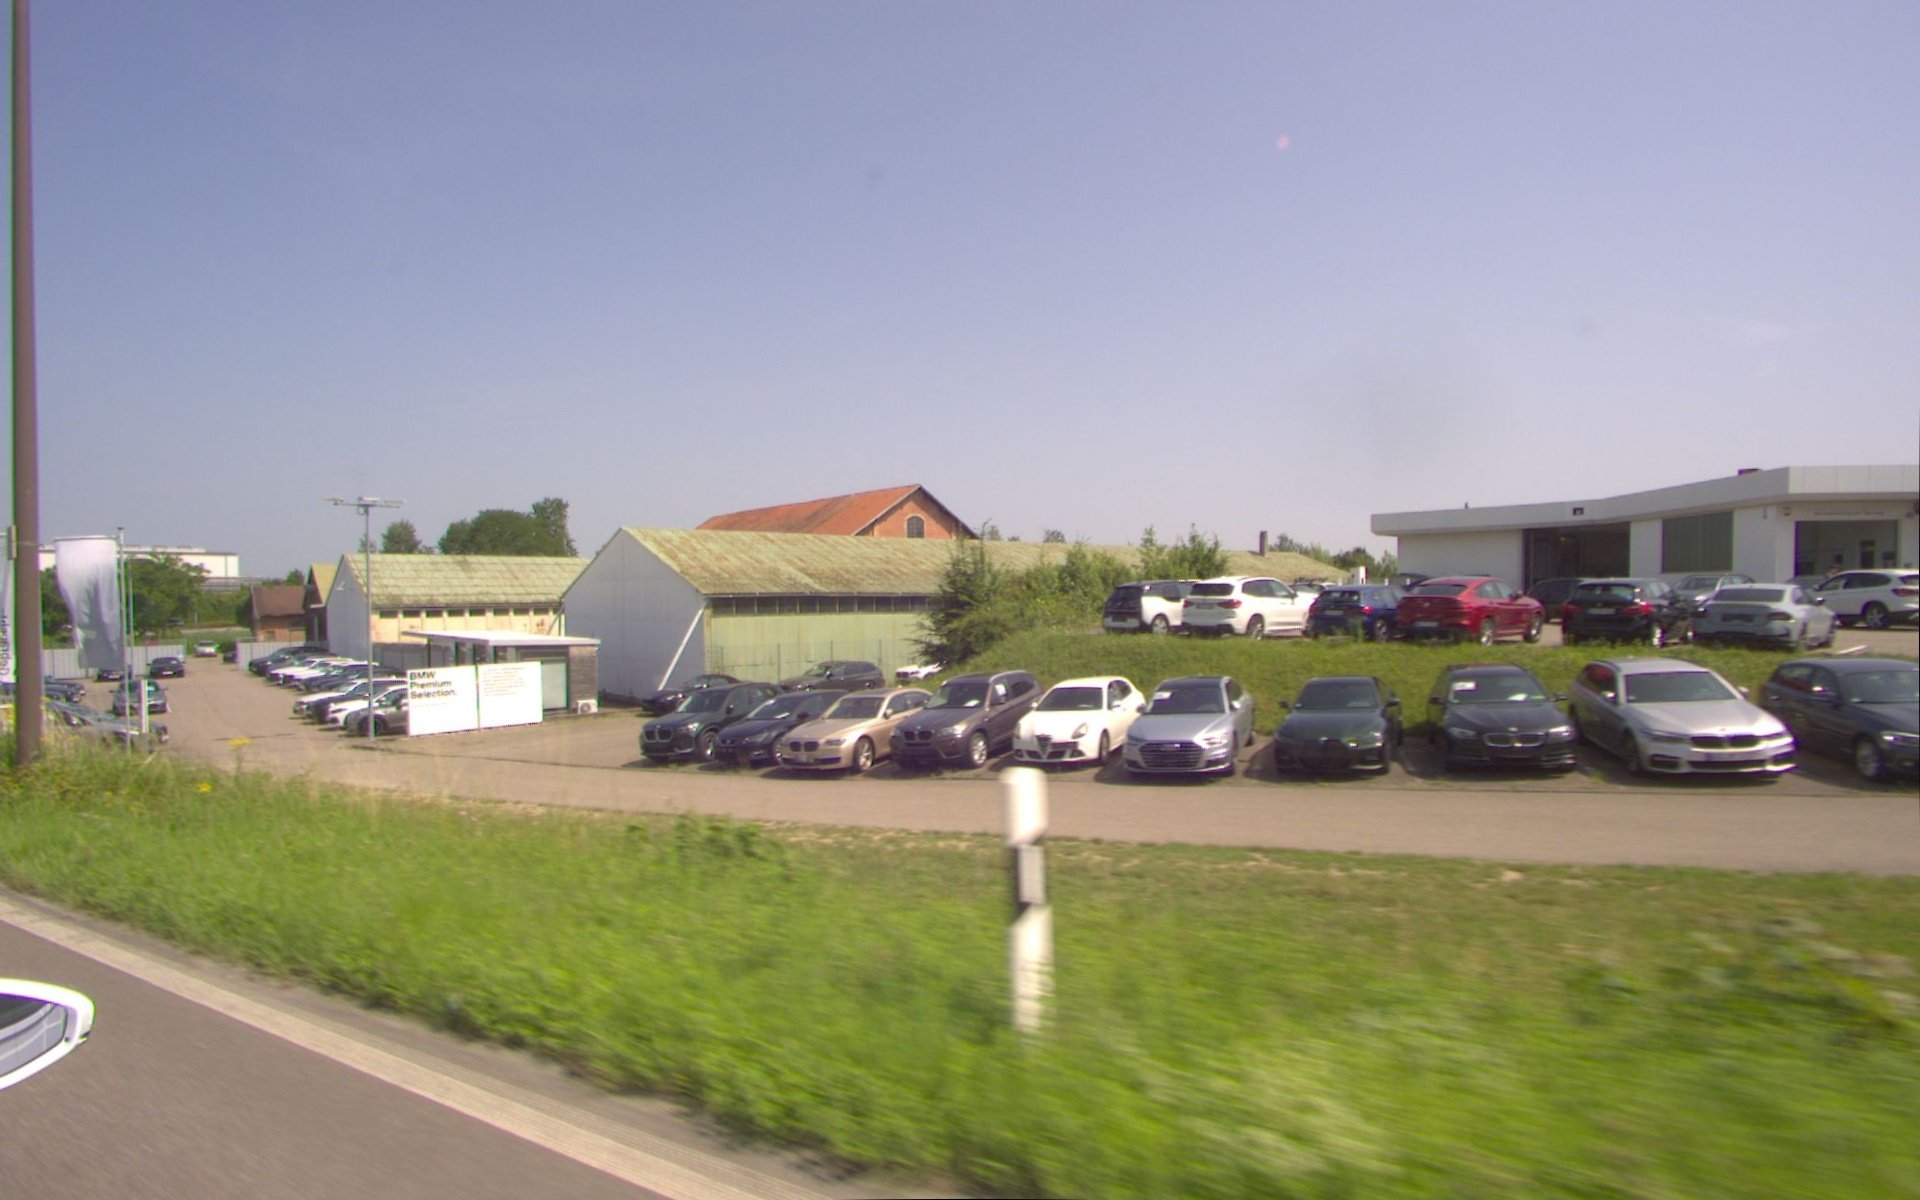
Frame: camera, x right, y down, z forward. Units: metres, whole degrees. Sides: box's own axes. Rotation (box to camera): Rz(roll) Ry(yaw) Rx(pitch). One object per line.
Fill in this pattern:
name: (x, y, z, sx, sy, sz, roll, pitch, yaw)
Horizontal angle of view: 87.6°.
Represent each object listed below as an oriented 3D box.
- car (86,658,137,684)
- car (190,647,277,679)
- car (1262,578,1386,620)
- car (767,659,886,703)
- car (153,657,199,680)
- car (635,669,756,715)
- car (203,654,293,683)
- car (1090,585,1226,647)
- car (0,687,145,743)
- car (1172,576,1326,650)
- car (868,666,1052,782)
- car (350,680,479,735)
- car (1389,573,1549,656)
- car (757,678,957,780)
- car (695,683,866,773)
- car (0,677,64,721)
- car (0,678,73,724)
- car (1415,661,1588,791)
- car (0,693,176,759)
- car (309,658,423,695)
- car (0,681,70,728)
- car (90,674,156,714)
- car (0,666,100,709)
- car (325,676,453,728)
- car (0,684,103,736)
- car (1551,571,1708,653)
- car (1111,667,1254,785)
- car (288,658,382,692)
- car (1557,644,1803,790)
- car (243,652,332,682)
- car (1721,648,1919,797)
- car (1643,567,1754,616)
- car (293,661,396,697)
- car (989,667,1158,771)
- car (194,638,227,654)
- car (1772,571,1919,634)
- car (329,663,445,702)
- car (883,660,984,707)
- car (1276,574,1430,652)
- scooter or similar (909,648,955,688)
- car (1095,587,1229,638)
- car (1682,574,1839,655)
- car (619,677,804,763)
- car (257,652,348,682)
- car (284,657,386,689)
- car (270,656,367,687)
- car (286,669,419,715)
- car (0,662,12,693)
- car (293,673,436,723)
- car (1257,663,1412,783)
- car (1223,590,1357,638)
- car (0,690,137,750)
car: (-57.899, 4.820, 68.381, 1.830, 1.554, 4.621, 0, -2, -30)
car: (-48.086, 4.165, 66.351, 1.880, 1.828, 4.325, 0, 0, 24)
car: (14.781, -0.028, 40.815, 2.170, 1.617, 4.268, -2, 1, -39)
car: (-5.298, 3.195, 40.023, 4.414, 1.490, 1.965, 0, -2, -43)
car: (-55.104, 4.806, 70.414, 1.971, 1.416, 3.981, 0, -2, -30)
car: (-9.548, 3.279, 36.278, 3.912, 1.394, 1.703, 0, -2, -43)
car: (-45.006, 4.311, 63.404, 1.880, 1.543, 4.325, 0, 0, 24)
car: (5.510, 0.399, 27.614, 3.846, 1.553, 1.752, -2, 1, -42)
car: (-29.424, 3.720, 32.642, 4.109, 1.542, 1.849, 0, -1, -27)
car: (7.642, 0.283, 26.272, 4.420, 1.770, 1.822, -2, 1, -42)
car: (0.127, 2.496, 21.034, 1.971, 1.771, 4.241, -4, 0, 29)
car: (-18.536, 3.617, 34.141, 3.747, 1.542, 1.744, 0, -1, -29)
car: (12.056, 0.280, 23.607, 4.420, 1.770, 1.932, -2, 1, -42)
car: (-2.118, 2.743, 22.148, 1.971, 1.528, 4.759, -4, 0, 29)
car: (-4.110, 2.937, 23.550, 1.968, 1.572, 3.986, -4, -1, 25)
car: (-37.602, 3.833, 38.317, 4.569, 1.542, 1.850, 0, -1, -24)
car: (-41.076, 4.332, 42.634, 4.566, 1.724, 1.850, 0, 1, -22)
car: (8.905, 2.011, 16.834, 1.890, 1.502, 4.250, -4, 1, 20)
car: (-25.072, 3.552, 28.438, 4.103, 1.542, 1.686, 0, -1, -22)
car: (-29.944, 3.826, 50.605, 1.903, 1.543, 4.599, -2, -1, 29)
car: (-35.150, 3.808, 36.161, 4.108, 1.542, 1.849, 0, -1, -27)
car: (-37.217, 4.125, 44.497, 2.120, 1.476, 4.492, 0, -2, -42)
car: (-42.751, 4.035, 46.214, 4.162, 1.724, 1.914, 0, 1, -18)
car: (-20.840, 3.689, 36.620, 3.919, 1.543, 1.740, -1, -1, -35)
car: (-32.400, 3.797, 34.402, 4.108, 1.542, 1.849, 0, -1, -27)
car: (15.114, 0.208, 22.524, 4.420, 1.656, 1.932, -2, 1, -42)
car: (4.237, 2.225, 18.509, 1.891, 1.484, 4.422, -4, 1, 21)
car: (-34.163, 4.071, 54.838, 1.732, 1.543, 3.993, -2, -1, 29)
car: (10.976, 1.700, 15.688, 1.890, 1.586, 4.560, -4, 1, 20)
car: (-42.179, 4.157, 62.939, 1.880, 1.597, 4.325, 0, 0, 24)
car: (13.179, 1.634, 14.516, 1.751, 1.440, 4.565, -4, 1, 15)
car: (25.345, -0.307, 34.340, 4.413, 1.543, 1.935, -2, 1, -38)
car: (-32.247, 4.111, 52.565, 1.770, 1.543, 4.308, -2, -1, 29)
car: (2.422, 2.313, 20.239, 1.846, 1.484, 4.241, -4, 0, 29)
car: (-70.594, 4.299, 94.399, 1.971, 1.416, 3.981, 0, -2, -30)
car: (25.187, 0.040, 27.828, 1.626, 1.607, 4.266, -1, 1, -3)
car: (-27.791, 3.965, 48.713, 1.903, 1.543, 4.599, -2, -1, 29)
car: (-1.118, 3.599, 43.840, 4.274, 1.752, 1.904, 0, -2, -43)
car: (9.882, 0.263, 25.021, 4.420, 1.770, 1.822, -2, 1, -42)
scooter or similar: (-0.983, 2.412, 35.846, 0.614, 1.331, 1.970, -1, -1, 33)
car: (6.839, 0.416, 34.287, 1.901, 1.617, 4.268, -2, 1, -39)
car: (16.955, 0.241, 21.133, 4.420, 1.520, 1.932, -2, 1, -42)
car: (-6.046, 2.911, 24.959, 2.113, 1.661, 4.481, -3, -2, 25)
car: (-40.267, 4.091, 61.440, 1.880, 1.543, 4.325, 0, 0, 24)
car: (-35.975, 4.185, 57.756, 1.883, 1.543, 4.641, -2, -1, 29)
car: (-38.058, 4.213, 59.563, 1.880, 1.543, 4.599, 0, 0, 24)
car: (-25.460, 3.822, 42.079, 1.910, 1.543, 4.405, -2, -1, 39)
car: (-54.624, 4.259, 54.089, 4.573, 1.626, 1.848, 0, -1, -27)
car: (-23.178, 3.770, 39.122, 1.906, 1.543, 4.413, -1, 0, 34)
car: (6.740, 2.073, 17.733, 1.895, 1.431, 4.241, -4, 1, 29)
car: (11.931, 0.484, 36.411, 1.901, 1.617, 4.268, -2, 1, -39)
car: (-27.714, 3.608, 30.215, 4.108, 1.542, 1.745, 0, -1, -27)
